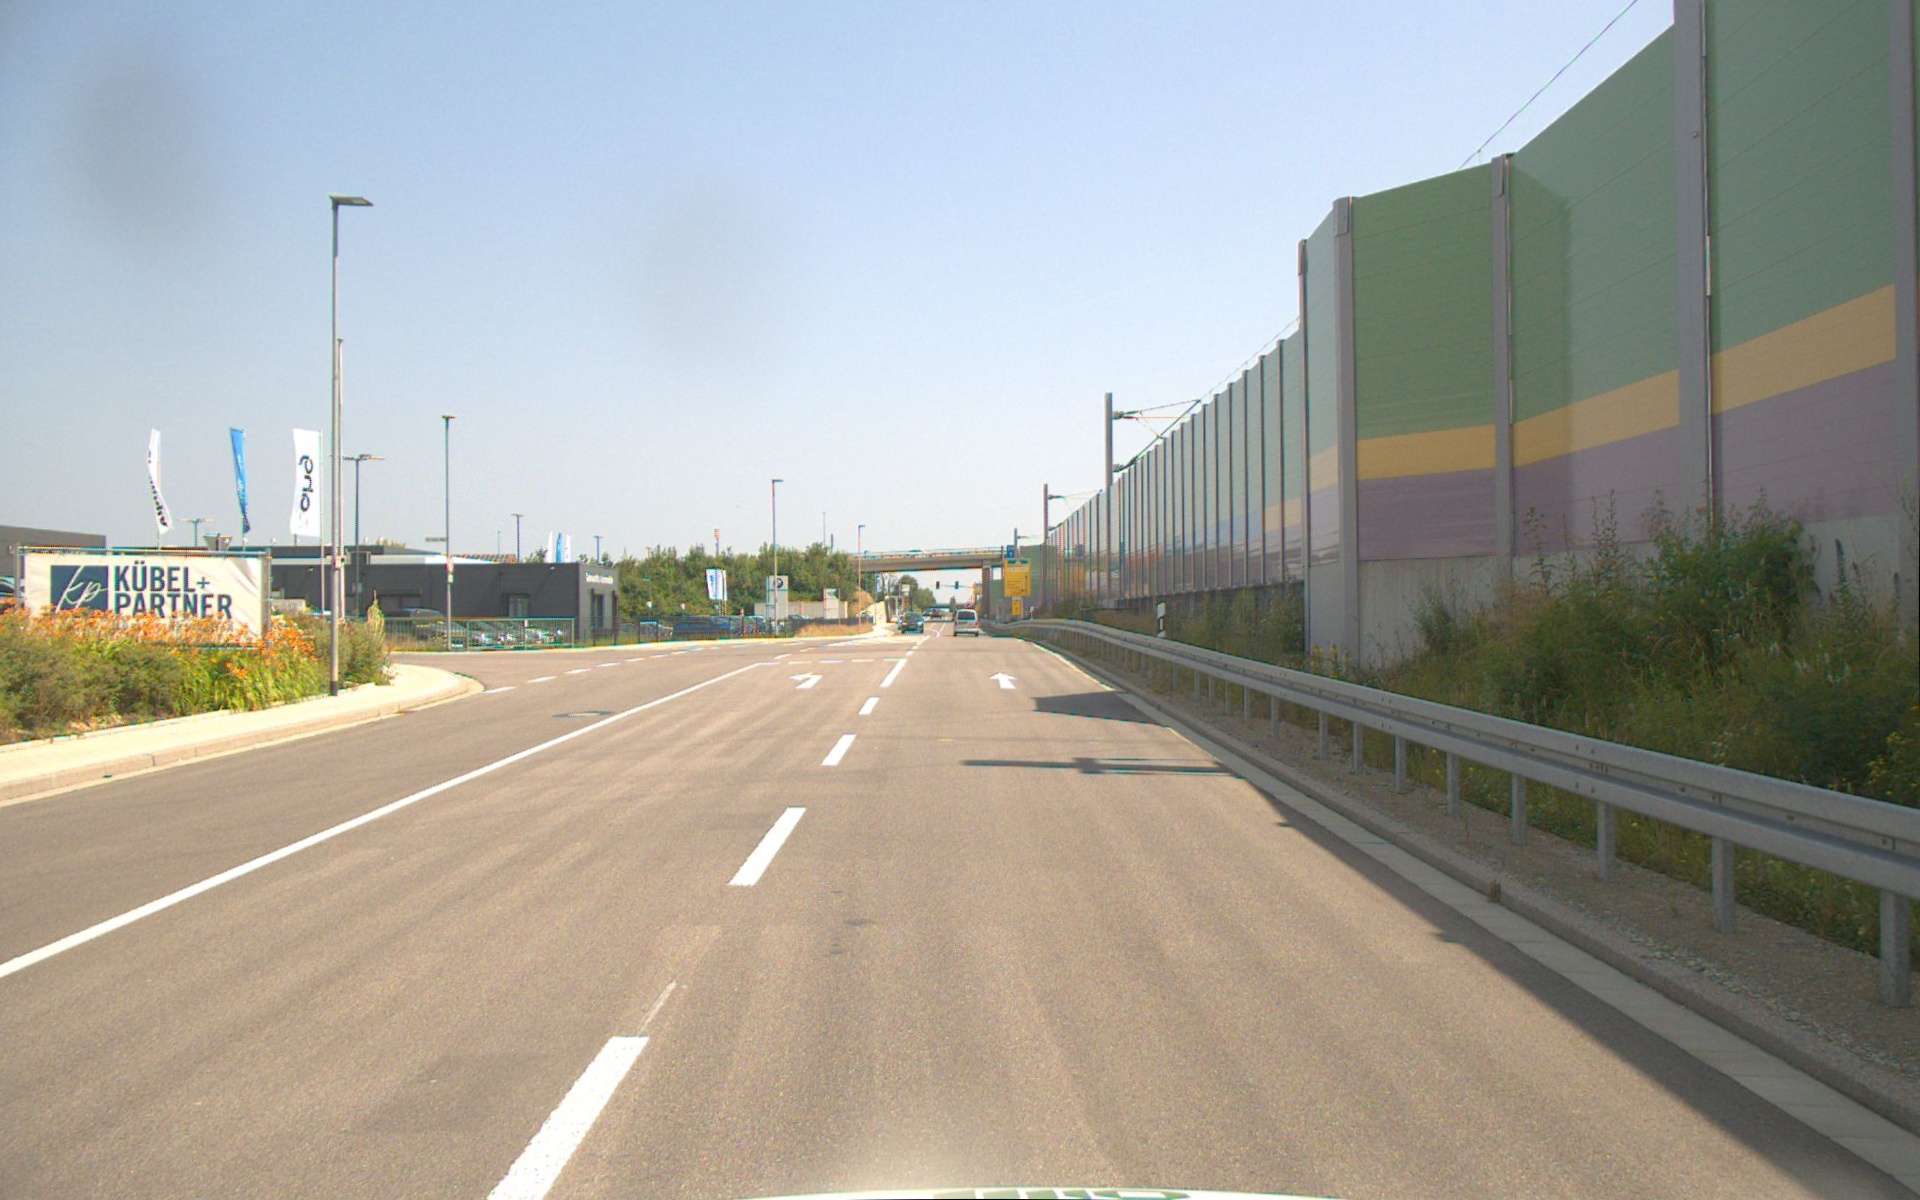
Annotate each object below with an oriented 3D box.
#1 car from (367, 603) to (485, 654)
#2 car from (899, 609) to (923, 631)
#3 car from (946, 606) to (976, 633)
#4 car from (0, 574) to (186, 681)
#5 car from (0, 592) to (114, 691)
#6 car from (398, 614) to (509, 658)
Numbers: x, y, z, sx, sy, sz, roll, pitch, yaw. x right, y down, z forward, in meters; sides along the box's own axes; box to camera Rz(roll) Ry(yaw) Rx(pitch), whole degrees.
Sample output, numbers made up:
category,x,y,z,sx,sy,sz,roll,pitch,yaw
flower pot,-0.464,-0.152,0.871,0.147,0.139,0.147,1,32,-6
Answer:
category,x,y,z,sx,sy,sz,roll,pitch,yaw
car,-20.467,1.119,63.367,4.587,1.898,2.057,-1,-2,37
car,-3.980,1.619,135.223,1.839,1.702,4.290,-1,0,0
car,0.095,1.343,115.119,1.952,1.788,4.001,-1,0,1
car,-15.499,0.462,27.738,4.140,1.676,1.832,-1,0,-4
car,-15.417,0.648,25.314,3.912,1.438,1.997,-1,0,-8
car,-20.486,1.435,67.042,3.907,1.660,1.886,-1,0,-2
